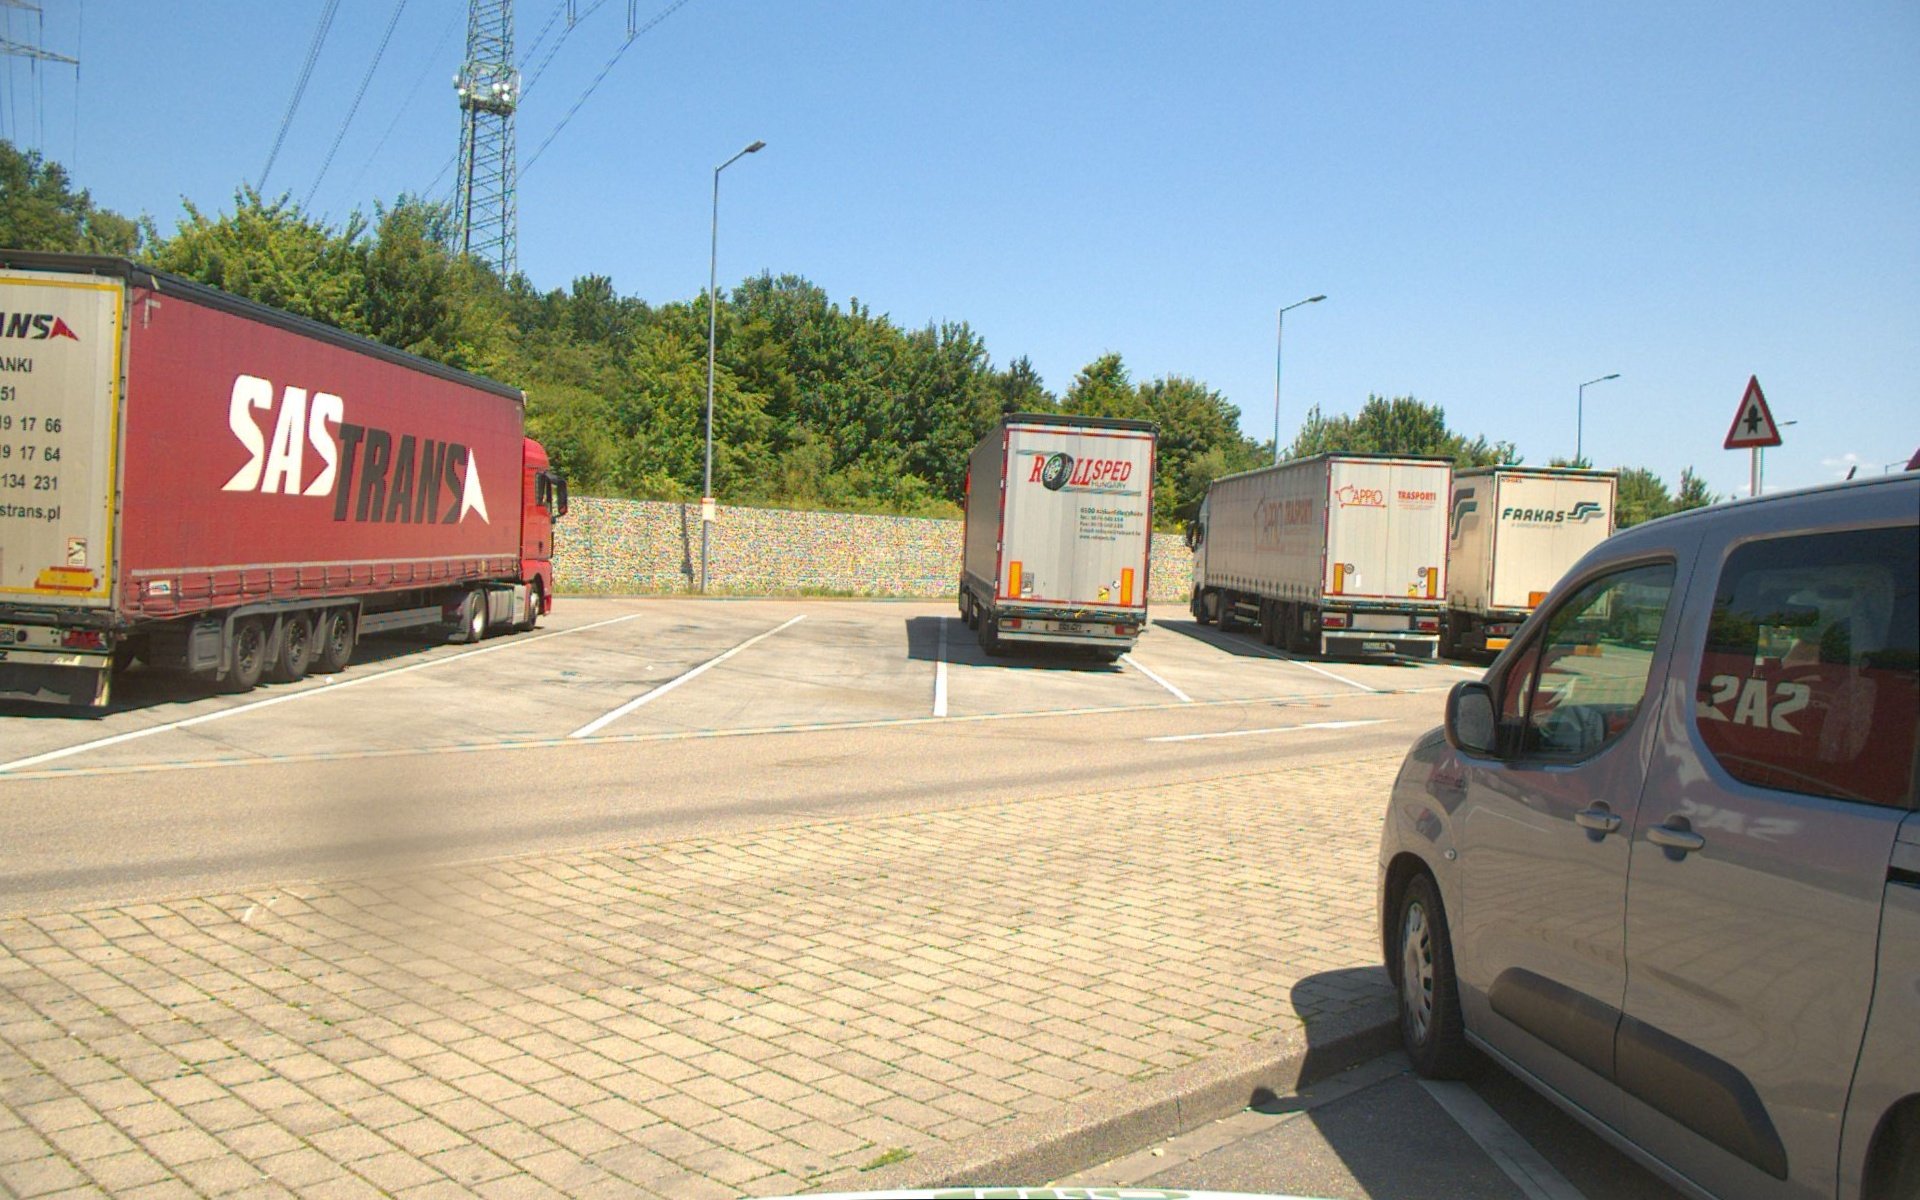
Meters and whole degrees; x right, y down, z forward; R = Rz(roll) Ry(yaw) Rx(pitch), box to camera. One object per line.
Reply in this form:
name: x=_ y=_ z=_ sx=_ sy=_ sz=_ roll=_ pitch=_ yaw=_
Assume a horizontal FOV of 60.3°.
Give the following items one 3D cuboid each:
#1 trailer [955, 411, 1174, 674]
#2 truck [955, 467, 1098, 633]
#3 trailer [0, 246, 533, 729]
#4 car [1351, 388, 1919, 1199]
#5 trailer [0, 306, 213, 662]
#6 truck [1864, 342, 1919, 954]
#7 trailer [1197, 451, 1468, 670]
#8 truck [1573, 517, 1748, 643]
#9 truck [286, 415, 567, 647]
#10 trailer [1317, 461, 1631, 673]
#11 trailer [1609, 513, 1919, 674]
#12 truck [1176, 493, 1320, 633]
trailer: x=1.654 y=-1.201 z=33.654 sx=3.070 sy=4.058 sz=14.393 roll=3 pitch=2 yaw=-1
truck: x=1.497 y=-1.249 z=40.545 sx=3.041 sy=3.628 sz=5.900 roll=3 pitch=2 yaw=-1
trailer: x=-8.729 y=-1.294 z=21.447 sx=2.735 sy=4.155 sz=14.131 roll=3 pitch=2 yaw=-1
car: x=2.438 y=0.604 z=3.869 sx=1.832 sy=1.895 sz=4.174 roll=3 pitch=1 yaw=-2
trailer: x=-12.555 y=-1.339 z=17.724 sx=2.739 sy=4.155 sz=14.131 roll=3 pitch=2 yaw=-1
truck: x=4.999 y=0.200 z=4.992 sx=1.937 sy=2.668 sz=5.307 roll=1 pitch=0 yaw=4
trailer: x=8.167 y=-1.038 z=38.864 sx=2.754 sy=4.058 sz=14.395 roll=3 pitch=2 yaw=-1
truck: x=21.761 y=-0.708 z=51.750 sx=2.746 sy=3.582 sz=5.900 roll=3 pitch=2 yaw=-1
truck: x=-8.794 y=-1.156 z=28.018 sx=2.793 sy=3.385 sz=5.900 roll=3 pitch=2 yaw=-1
trailer: x=11.729 y=-0.944 z=39.969 sx=2.754 sy=4.058 sz=14.395 roll=3 pitch=2 yaw=-1
trailer: x=21.839 y=-0.401 z=44.520 sx=2.754 sy=3.568 sz=14.395 roll=3 pitch=2 yaw=-1
truck: x=8.048 y=-1.103 z=46.963 sx=2.804 sy=3.582 sz=5.900 roll=3 pitch=2 yaw=-1
